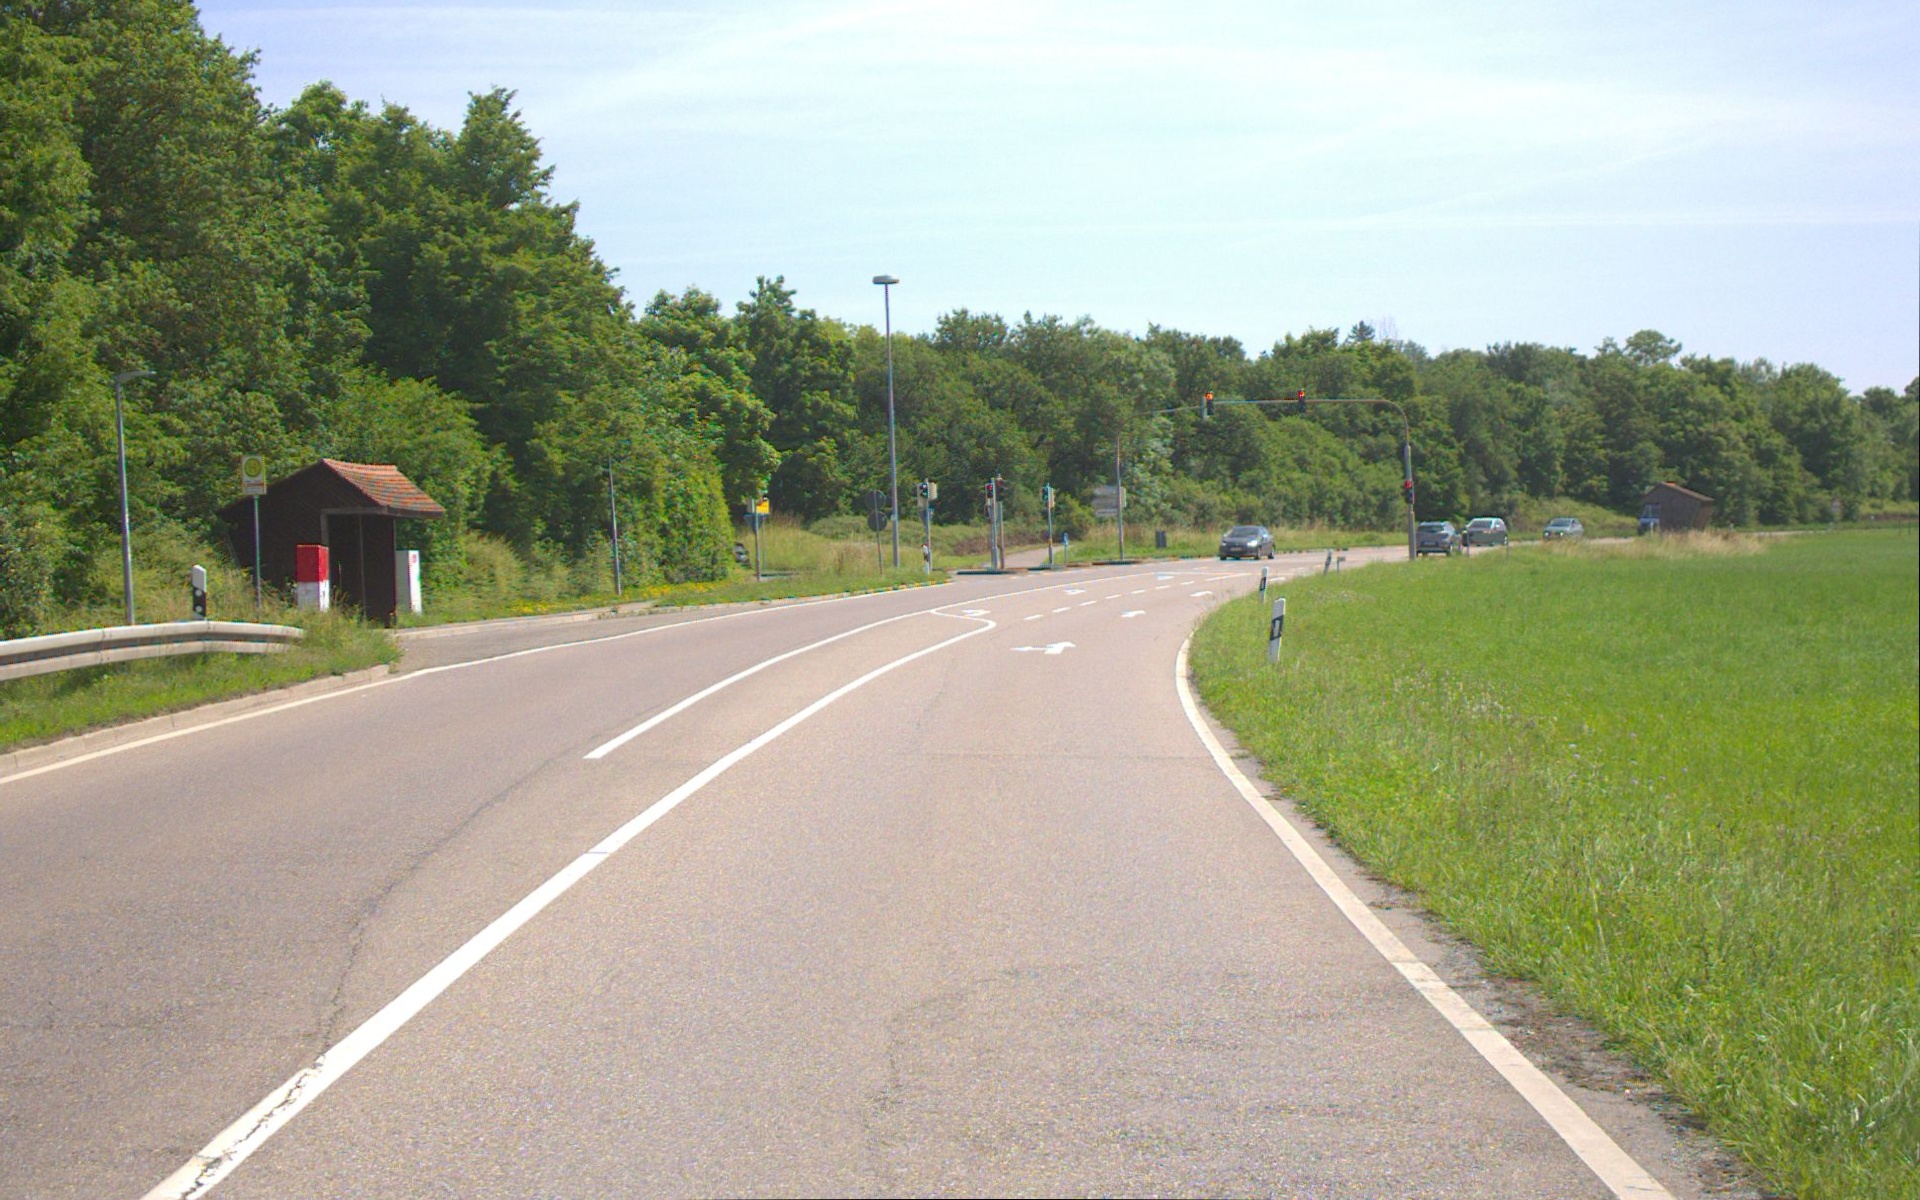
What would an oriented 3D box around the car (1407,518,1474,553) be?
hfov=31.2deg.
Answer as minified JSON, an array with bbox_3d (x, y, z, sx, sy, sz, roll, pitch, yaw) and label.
[{"bbox_3d":[21.700,-2.916,155.232,1.996,1.568,3.995,0,1,23],"label":"car"}]

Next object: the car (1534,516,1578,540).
[{"bbox_3d":[36.550,-4.397,210.818,1.709,1.478,3.827,0,1,25],"label":"car"}]

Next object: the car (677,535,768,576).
[{"bbox_3d":[-10.557,-1.959,152.660,1.994,1.787,3.998,-1,1,-42],"label":"car"}]

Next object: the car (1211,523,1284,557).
[{"bbox_3d":[12.613,-2.617,150.813,1.793,1.469,4.305,0,1,25],"label":"car"}]

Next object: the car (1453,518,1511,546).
[{"bbox_3d":[29.399,-3.828,193.533,1.977,1.557,4.183,0,1,28],"label":"car"}]
